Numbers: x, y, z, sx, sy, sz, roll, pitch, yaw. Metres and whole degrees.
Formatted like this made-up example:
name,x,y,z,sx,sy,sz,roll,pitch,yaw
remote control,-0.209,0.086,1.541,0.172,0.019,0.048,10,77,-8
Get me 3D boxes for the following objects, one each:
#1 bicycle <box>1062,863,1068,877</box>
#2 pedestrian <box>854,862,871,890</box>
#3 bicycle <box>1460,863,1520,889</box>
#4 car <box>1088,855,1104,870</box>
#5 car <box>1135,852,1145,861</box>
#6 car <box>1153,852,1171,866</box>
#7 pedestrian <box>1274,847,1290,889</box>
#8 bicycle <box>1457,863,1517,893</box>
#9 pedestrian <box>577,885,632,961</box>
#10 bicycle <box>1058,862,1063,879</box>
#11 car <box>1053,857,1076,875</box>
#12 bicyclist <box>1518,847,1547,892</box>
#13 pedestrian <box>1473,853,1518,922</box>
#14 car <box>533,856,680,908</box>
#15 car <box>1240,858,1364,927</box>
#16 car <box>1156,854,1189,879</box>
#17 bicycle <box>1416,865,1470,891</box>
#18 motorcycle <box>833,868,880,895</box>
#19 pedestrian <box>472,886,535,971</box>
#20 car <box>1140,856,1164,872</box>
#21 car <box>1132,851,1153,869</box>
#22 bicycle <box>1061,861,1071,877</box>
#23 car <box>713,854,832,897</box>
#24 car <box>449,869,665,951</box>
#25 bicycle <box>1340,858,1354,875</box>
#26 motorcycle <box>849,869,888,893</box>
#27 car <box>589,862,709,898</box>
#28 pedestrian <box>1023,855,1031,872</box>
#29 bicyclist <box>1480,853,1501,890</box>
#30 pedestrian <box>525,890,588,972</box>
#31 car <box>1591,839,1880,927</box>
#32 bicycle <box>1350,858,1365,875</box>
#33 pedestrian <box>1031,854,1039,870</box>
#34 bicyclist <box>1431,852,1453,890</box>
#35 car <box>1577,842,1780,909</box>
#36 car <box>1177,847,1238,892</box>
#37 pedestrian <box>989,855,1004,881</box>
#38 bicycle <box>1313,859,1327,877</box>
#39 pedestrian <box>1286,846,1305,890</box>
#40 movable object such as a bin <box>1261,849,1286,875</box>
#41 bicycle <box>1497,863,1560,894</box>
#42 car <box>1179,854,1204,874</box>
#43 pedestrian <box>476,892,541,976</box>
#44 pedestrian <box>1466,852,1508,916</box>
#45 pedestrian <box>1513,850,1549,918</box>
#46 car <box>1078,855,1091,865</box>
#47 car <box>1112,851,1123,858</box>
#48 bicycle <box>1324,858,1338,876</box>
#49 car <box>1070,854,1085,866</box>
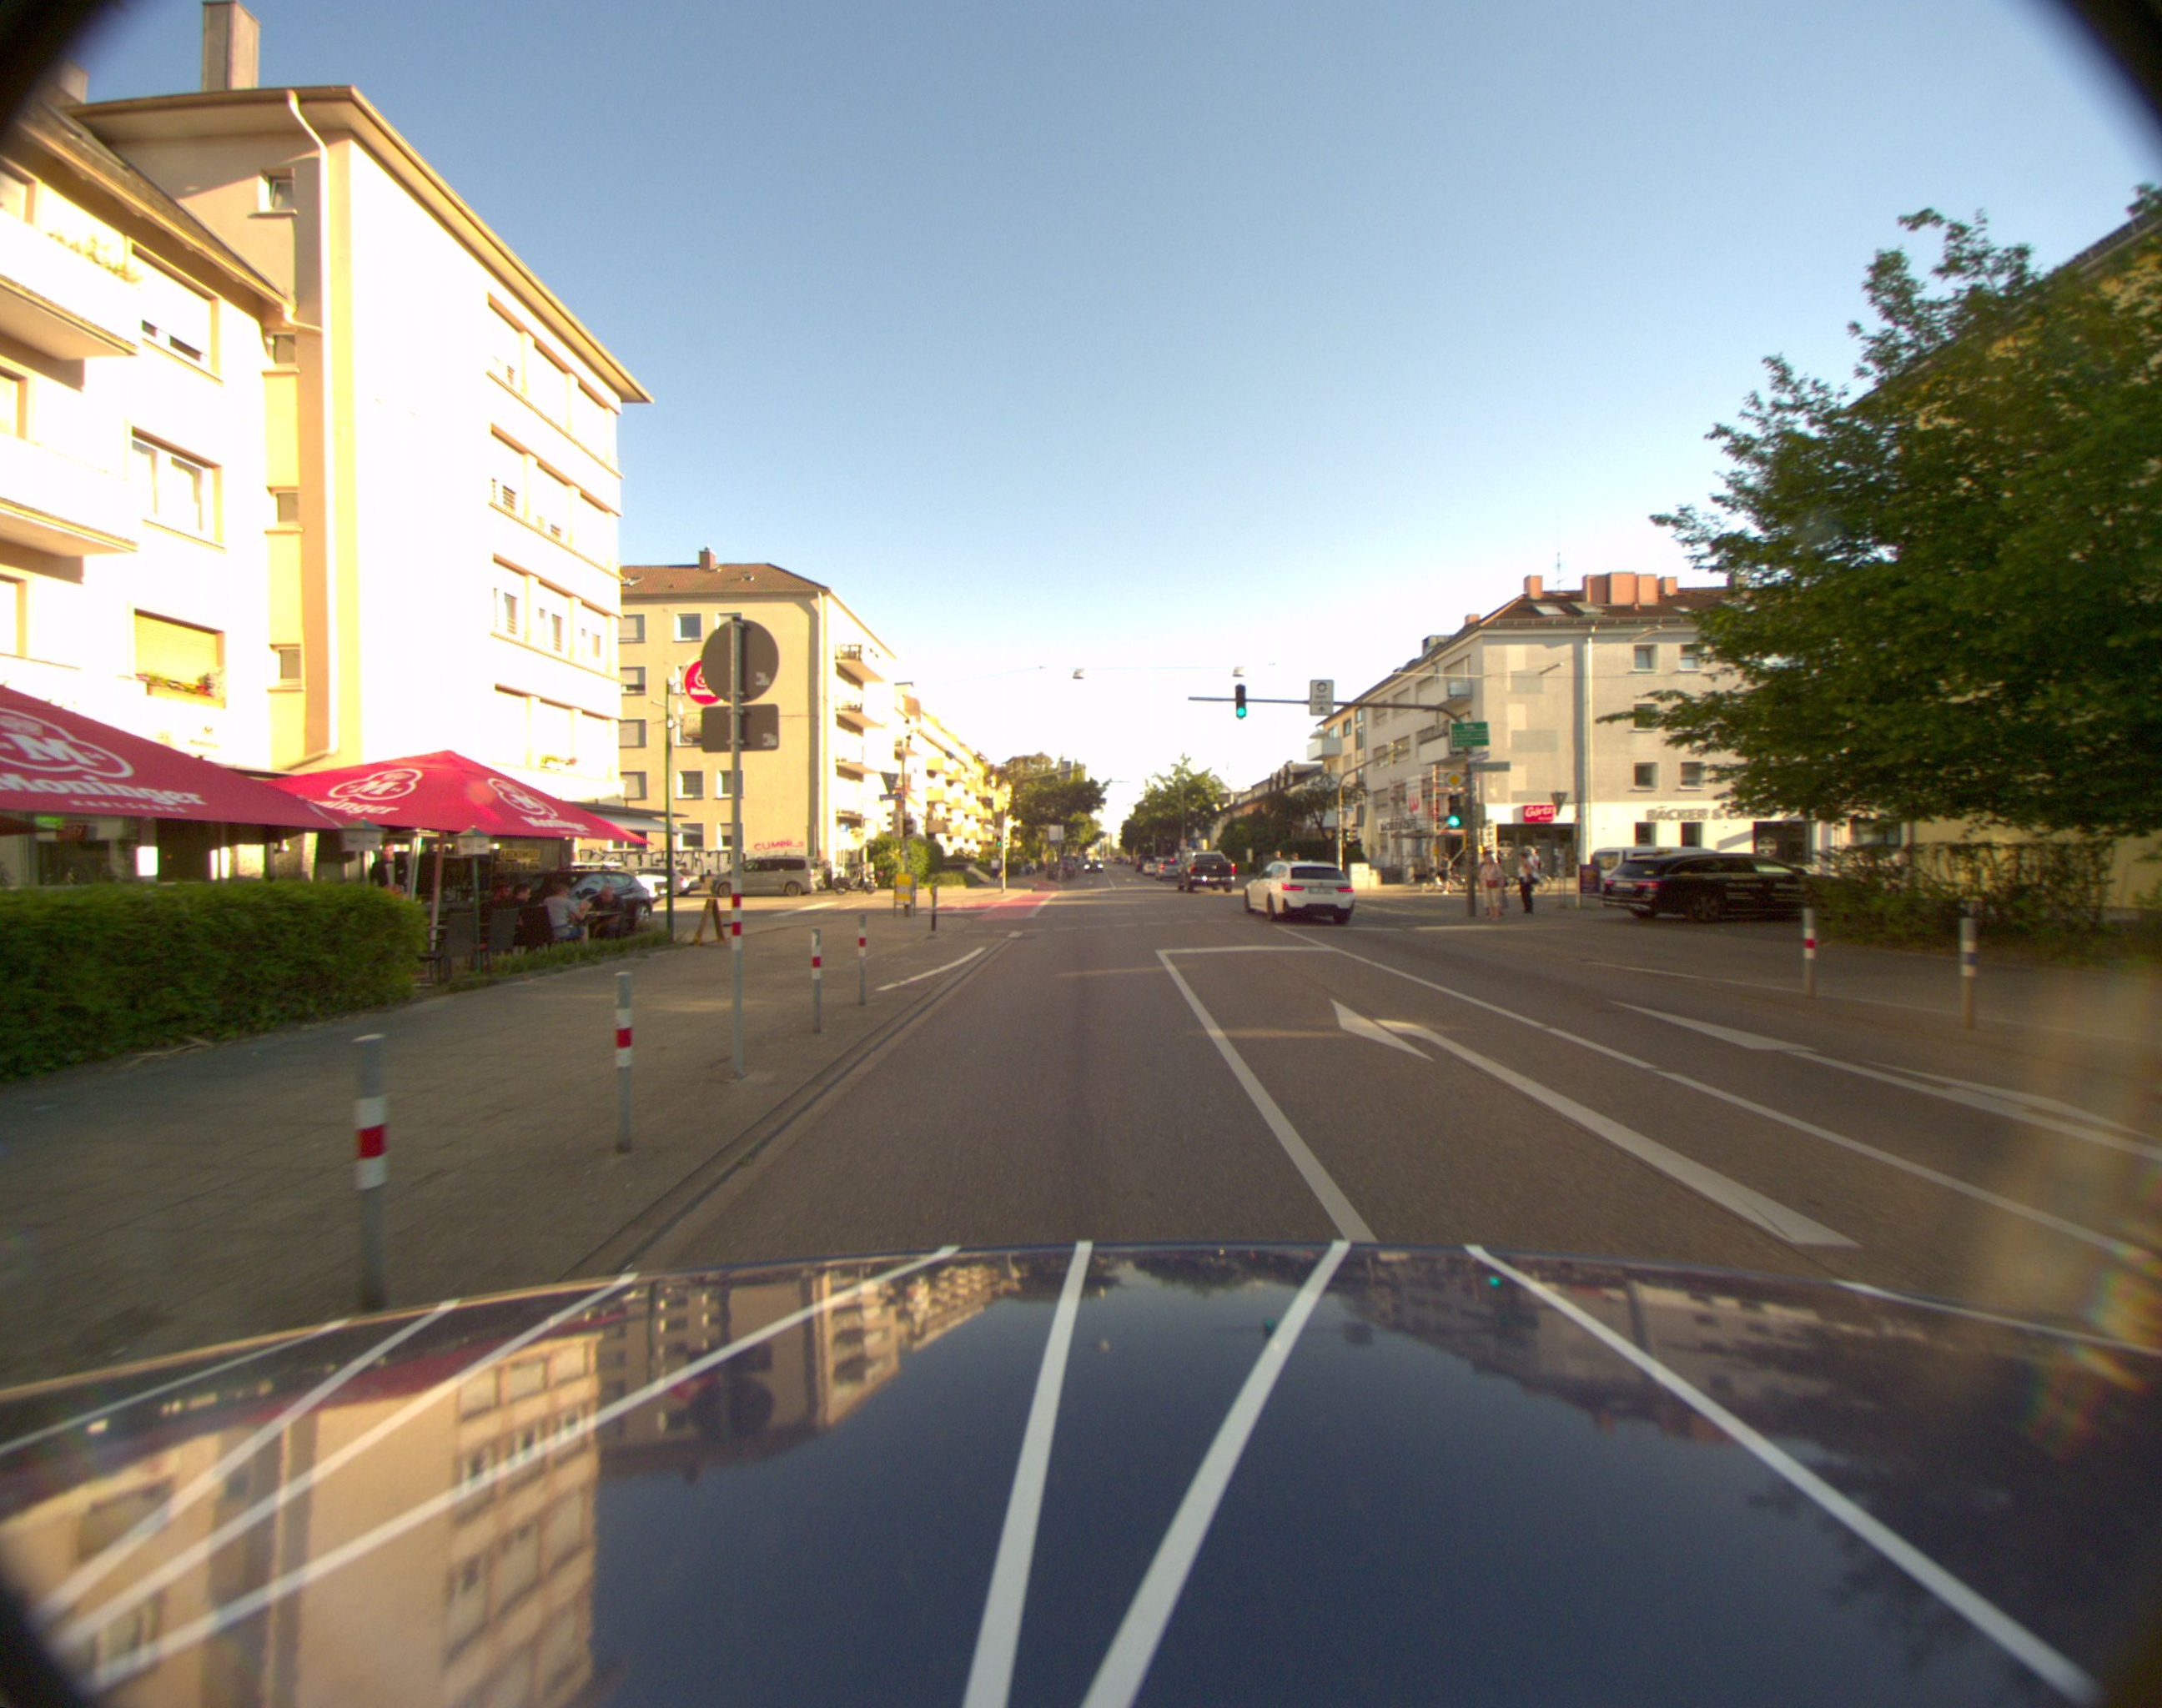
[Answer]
name,x,y,z,sx,sy,sz,roll,pitch,yaw
bicycle,-1.172,1.183,56.421,0.325,0.981,1.191,-1,0,6
pedestrian,-11.063,1.125,38.422,0.641,1.383,0.594,-1,1,0
bicycle,18.169,0.964,33.799,2.267,1.083,0.729,1,3,20
car,1.561,0.881,80.161,1.641,1.482,4.415,0,0,1
car,10.482,0.357,134.819,1.642,1.554,3.660,-1,0,1
car,10.283,0.626,96.652,1.842,1.604,4.410,-1,0,2
pedestrian,9.840,0.668,37.210,0.639,2.002,0.739,-1,1,2
bicycle,15.902,0.939,29.797,1.999,1.159,0.728,-1,-1,-5
pedestrian,-7.528,1.076,12.024,0.413,1.143,0.632,-1,1,5
bicycle,-1.469,1.176,54.139,0.325,1.138,1.800,-1,0,-4
car,-1.406,1.017,66.156,1.744,1.508,3.811,-1,0,3
bicyclist,17.261,0.595,29.081,0.608,1.711,0.750,-1,0,-5
pedestrian,9.928,0.786,18.220,0.608,1.585,0.750,-3,1,-2
car,-18.011,1.043,29.006,4.351,1.827,1.953,-1,0,1
car,5.345,0.863,19.076,1.841,1.465,4.671,1,0,1
car,6.143,0.842,51.511,1.809,1.548,4.000,-2,0,2
bicycle,15.813,1.053,33.243,1.996,1.083,0.729,-1,-1,11
motorcycle,-10.563,1.276,35.815,1.992,1.194,0.774,-2,1,-11
pedestrian,-9.121,1.159,12.009,0.525,1.275,0.540,-1,1,3
car,6.159,0.851,66.014,1.845,1.312,4.442,0,0,2
car,6.488,0.591,79.984,1.842,1.866,4.409,-1,0,0
bicycle,-1.166,1.166,58.890,0.324,1.138,1.802,-1,0,15
car,-14.645,0.996,36.305,4.841,1.855,1.952,-1,2,-1
car,-11.413,1.135,16.978,1.832,1.475,4.204,-1,0,1
bicycle,15.809,0.731,45.194,0.439,1.009,1.477,-1,0,4
motorcycle,-10.303,1.308,36.876,1.698,1.105,0.594,-1,1,2
car,-20.724,1.226,36.596,4.620,1.532,1.952,-1,2,-1
pedestrian,-5.415,0.924,76.891,0.659,1.673,0.831,0,1,6
bicyclist,18.213,0.758,33.770,0.687,1.586,0.751,1,3,20
pedestrian,-7.673,1.116,11.133,0.494,1.143,0.526,-1,1,5
car,13.909,0.588,16.350,4.602,1.604,1.843,-2,0,0
bicycle,16.427,0.733,45.142,0.439,1.009,1.477,-1,0,4
pedestrian,-4.779,0.856,79.339,0.659,1.673,0.831,0,1,6
bicyclist,15.777,0.757,33.247,0.672,1.643,0.751,-1,-1,11
car,17.562,0.619,22.506,4.483,1.837,1.908,-1,0,1
car,5.515,0.615,33.706,1.866,1.819,5.227,1,0,1
pedestrian,-5.480,0.902,49.252,0.830,1.673,0.660,0,1,5
bicycle,14.308,0.822,45.437,0.439,1.009,1.477,-1,0,4
pedestrian,10.078,0.648,35.674,0.645,2.002,0.814,-2,2,2
movable object such as a bin,13.047,0.527,51.550,1.309,1.649,1.180,-4,1,1
bicycle,17.100,0.926,29.066,1.999,1.150,0.728,-1,-1,-5
car,9.086,0.796,62.689,1.755,1.526,3.572,-1,0,3
pedestrian,-8.249,1.140,10.966,0.487,1.143,0.526,-1,1,5
pedestrian,10.658,0.777,19.968,0.750,1.647,0.608,-1,1,-6
pedestrian,11.263,0.738,19.017,0.607,1.620,0.751,-3,2,38
car,0.581,0.909,122.004,1.744,1.508,3.811,-1,0,3
car,8.359,0.179,174.142,1.843,1.604,4.407,-1,0,-6
bicycle,14.913,0.756,45.381,0.439,1.009,1.477,-1,0,4
car,-0.432,0.841,100.833,1.744,1.508,3.811,-1,0,3
